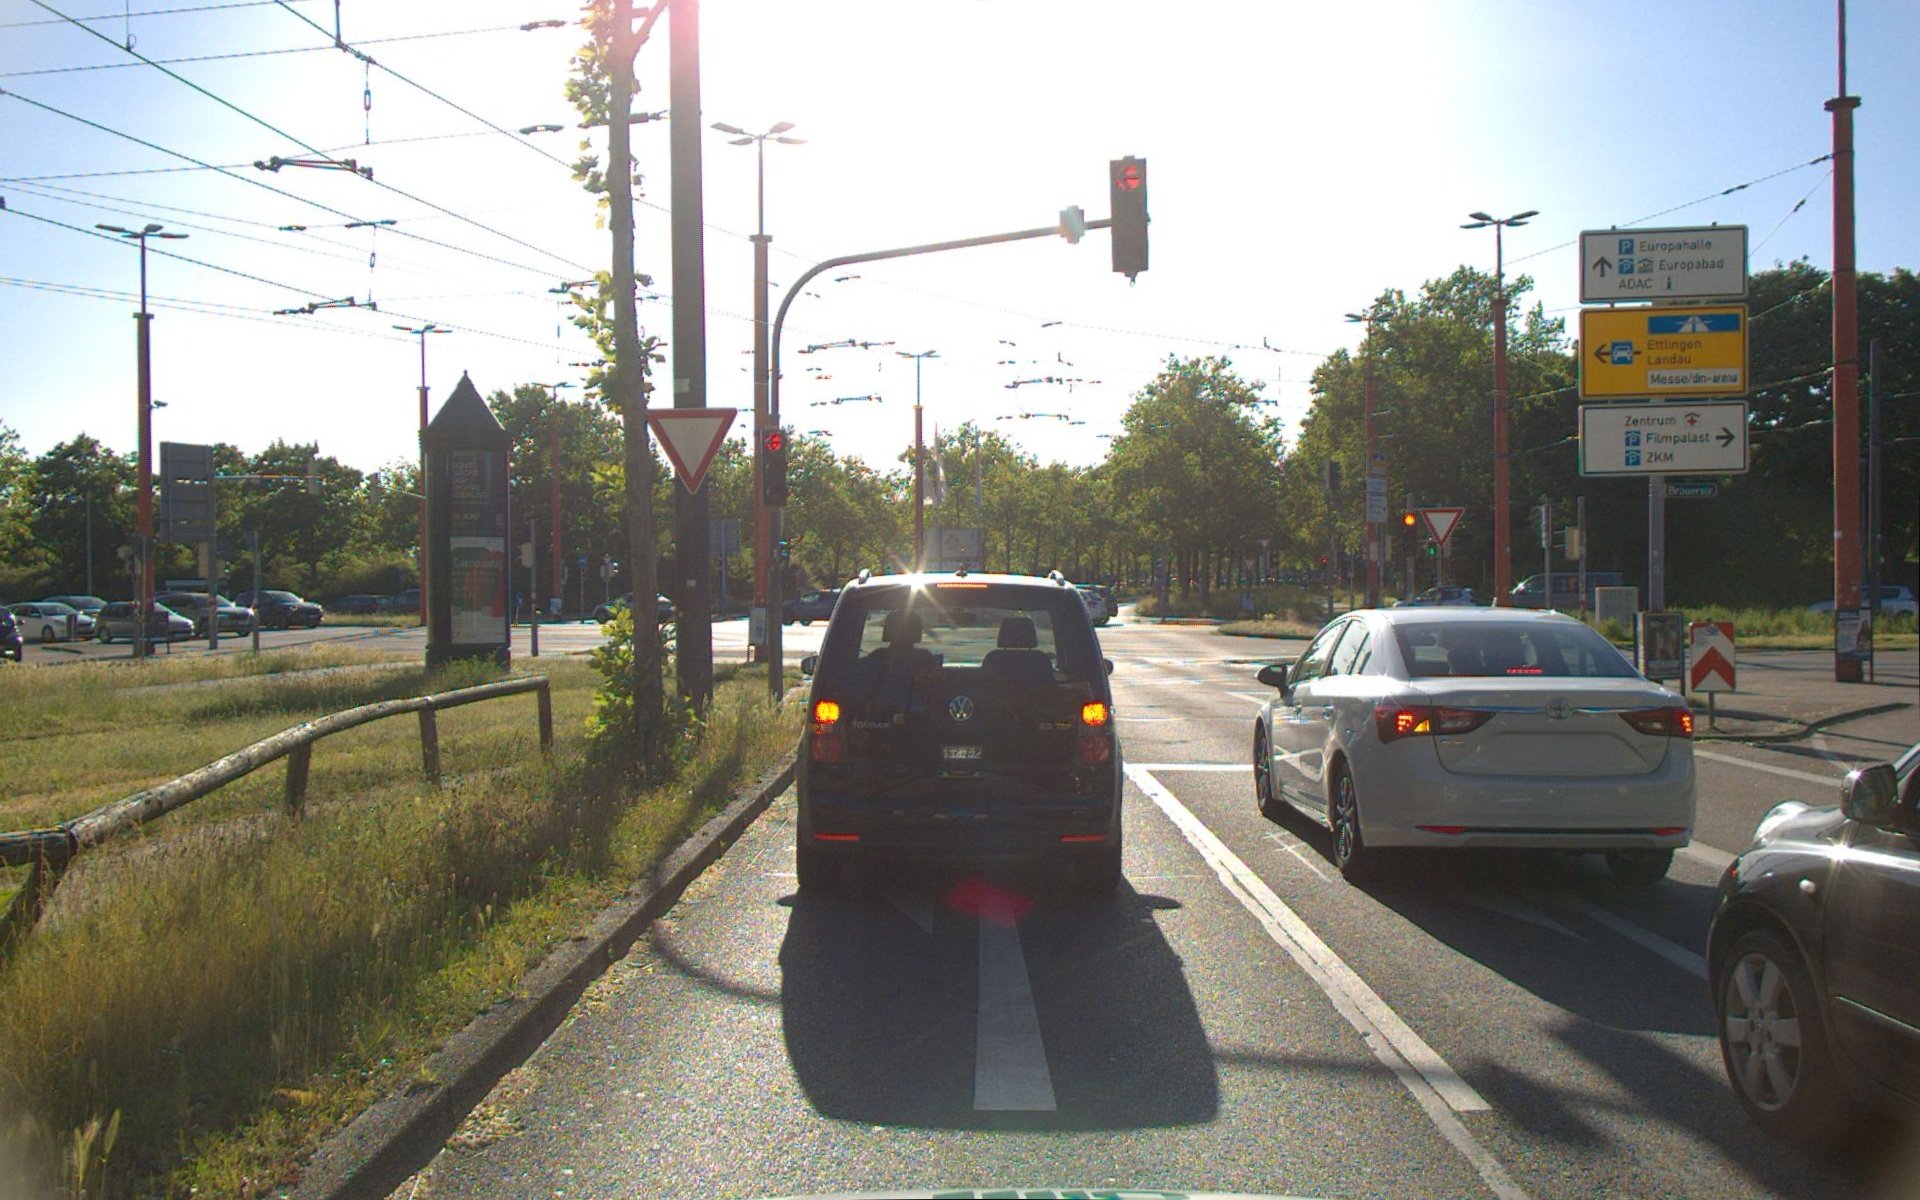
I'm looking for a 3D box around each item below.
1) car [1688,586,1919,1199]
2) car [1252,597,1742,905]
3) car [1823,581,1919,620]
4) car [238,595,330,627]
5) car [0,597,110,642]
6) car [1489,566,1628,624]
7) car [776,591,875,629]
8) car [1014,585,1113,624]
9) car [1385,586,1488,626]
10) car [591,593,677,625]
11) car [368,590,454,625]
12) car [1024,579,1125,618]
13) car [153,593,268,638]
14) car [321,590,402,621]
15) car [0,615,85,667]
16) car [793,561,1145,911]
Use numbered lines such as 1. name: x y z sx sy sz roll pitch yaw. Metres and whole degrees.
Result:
1. car: 3.187 0.744 3.567 1.620 1.526 3.614 1 0 0
2. car: 2.976 0.729 10.128 1.685 1.463 4.198 1 0 1
3. car: 32.248 0.030 57.630 3.753 1.286 1.602 1 0 26
4. car: -29.272 0.474 71.584 3.913 1.353 1.694 0 0 31
5. car: -34.736 0.721 63.216 4.091 1.640 1.867 0 0 25
6. car: 21.624 -0.168 59.754 4.483 2.049 1.997 0 0 28
7. car: -5.962 0.429 73.239 4.039 1.626 1.827 0 0 27
8. car: 4.262 0.174 68.198 3.743 1.549 1.694 0 0 25
9. car: 18.635 0.226 64.681 3.662 1.499 1.599 0 0 26
10. car: -16.150 0.451 81.966 3.884 1.466 1.686 1 0 24
11. car: -27.994 0.375 84.359 4.097 1.673 1.758 1 0 26
12. car: 4.999 -0.079 72.346 4.037 1.672 1.851 0 0 24
13. car: -29.020 0.574 64.047 3.907 1.673 1.999 0 0 24
14. car: -32.576 0.298 90.039 4.040 1.537 1.821 1 0 26
15. car: -26.511 1.142 47.025 1.762 1.415 2.848 0 0 -1
16. car: 0.011 0.634 9.802 1.666 1.650 3.896 0 0 -1
